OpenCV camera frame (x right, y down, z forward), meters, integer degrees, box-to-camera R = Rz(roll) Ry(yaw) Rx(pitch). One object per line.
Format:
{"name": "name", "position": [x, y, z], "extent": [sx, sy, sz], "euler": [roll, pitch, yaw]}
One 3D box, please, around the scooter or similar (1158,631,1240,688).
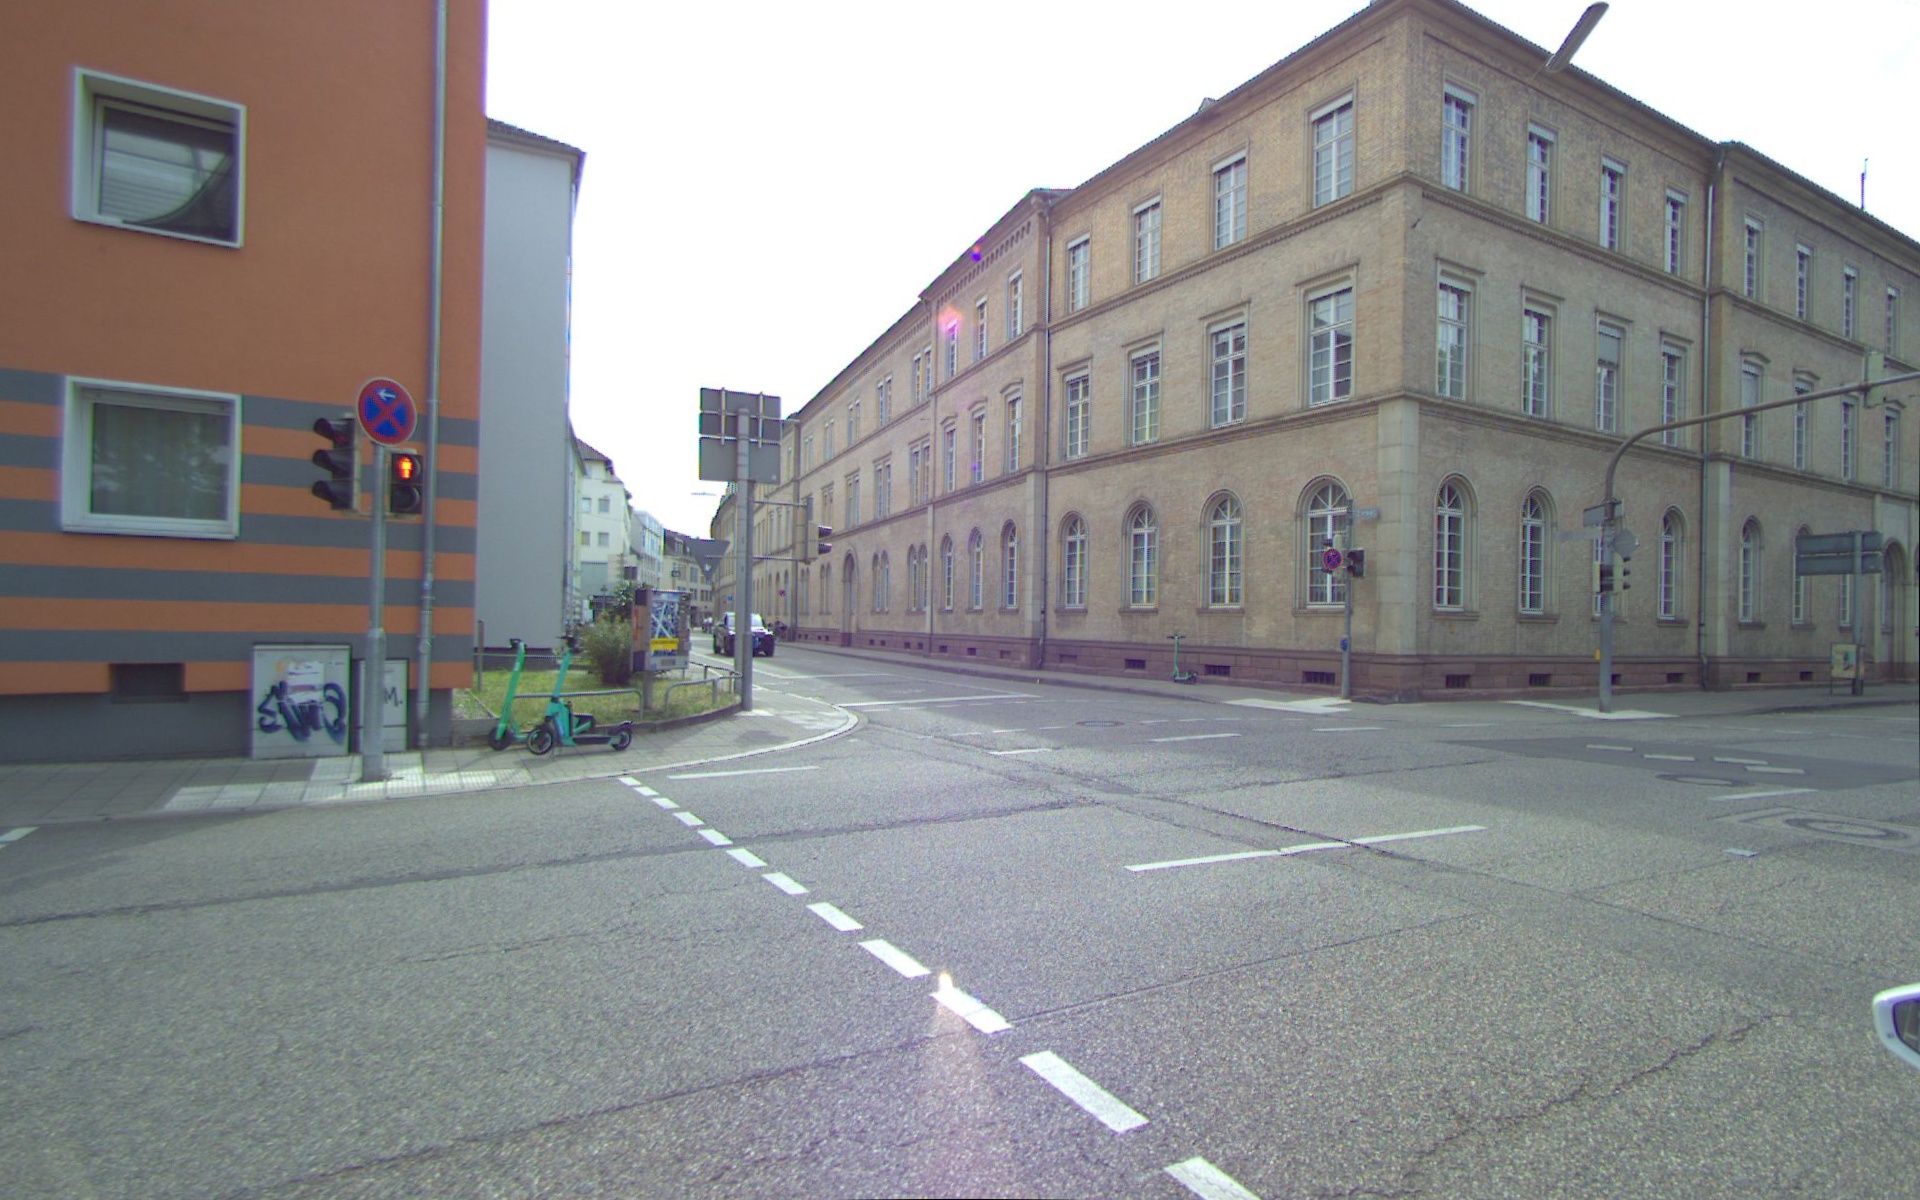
{"name": "scooter or similar", "position": [5.632, 1.379, 23.838], "extent": [0.552, 1.180, 2.362], "euler": [1, 1, -23]}

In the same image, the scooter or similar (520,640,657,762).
{"name": "scooter or similar", "position": [-3.931, 1.043, 10.695], "extent": [1.334, 1.194, 0.325], "euler": [1, 1, -44]}

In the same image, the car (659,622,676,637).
{"name": "car", "position": [-43.272, 4.370, 148.663], "extent": [1.964, 2.040, 3.993], "euler": [2, 0, -9]}

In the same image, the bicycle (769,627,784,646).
{"name": "bicycle", "position": [-11.682, 2.335, 63.891], "extent": [0.560, 1.085, 2.257], "euler": [1, 0, -18]}

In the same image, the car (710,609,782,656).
{"name": "car", "position": [-8.379, 1.218, 39.044], "extent": [1.873, 1.621, 3.975], "euler": [2, 0, -25]}

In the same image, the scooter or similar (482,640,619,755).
{"name": "scooter or similar", "position": [-4.462, 1.035, 11.004], "extent": [1.344, 1.173, 0.325], "euler": [1, 1, -44]}

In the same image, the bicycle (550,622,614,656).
{"name": "bicycle", "position": [-11.939, 1.246, 31.715], "extent": [1.842, 1.025, 0.558], "euler": [2, 1, -27]}
